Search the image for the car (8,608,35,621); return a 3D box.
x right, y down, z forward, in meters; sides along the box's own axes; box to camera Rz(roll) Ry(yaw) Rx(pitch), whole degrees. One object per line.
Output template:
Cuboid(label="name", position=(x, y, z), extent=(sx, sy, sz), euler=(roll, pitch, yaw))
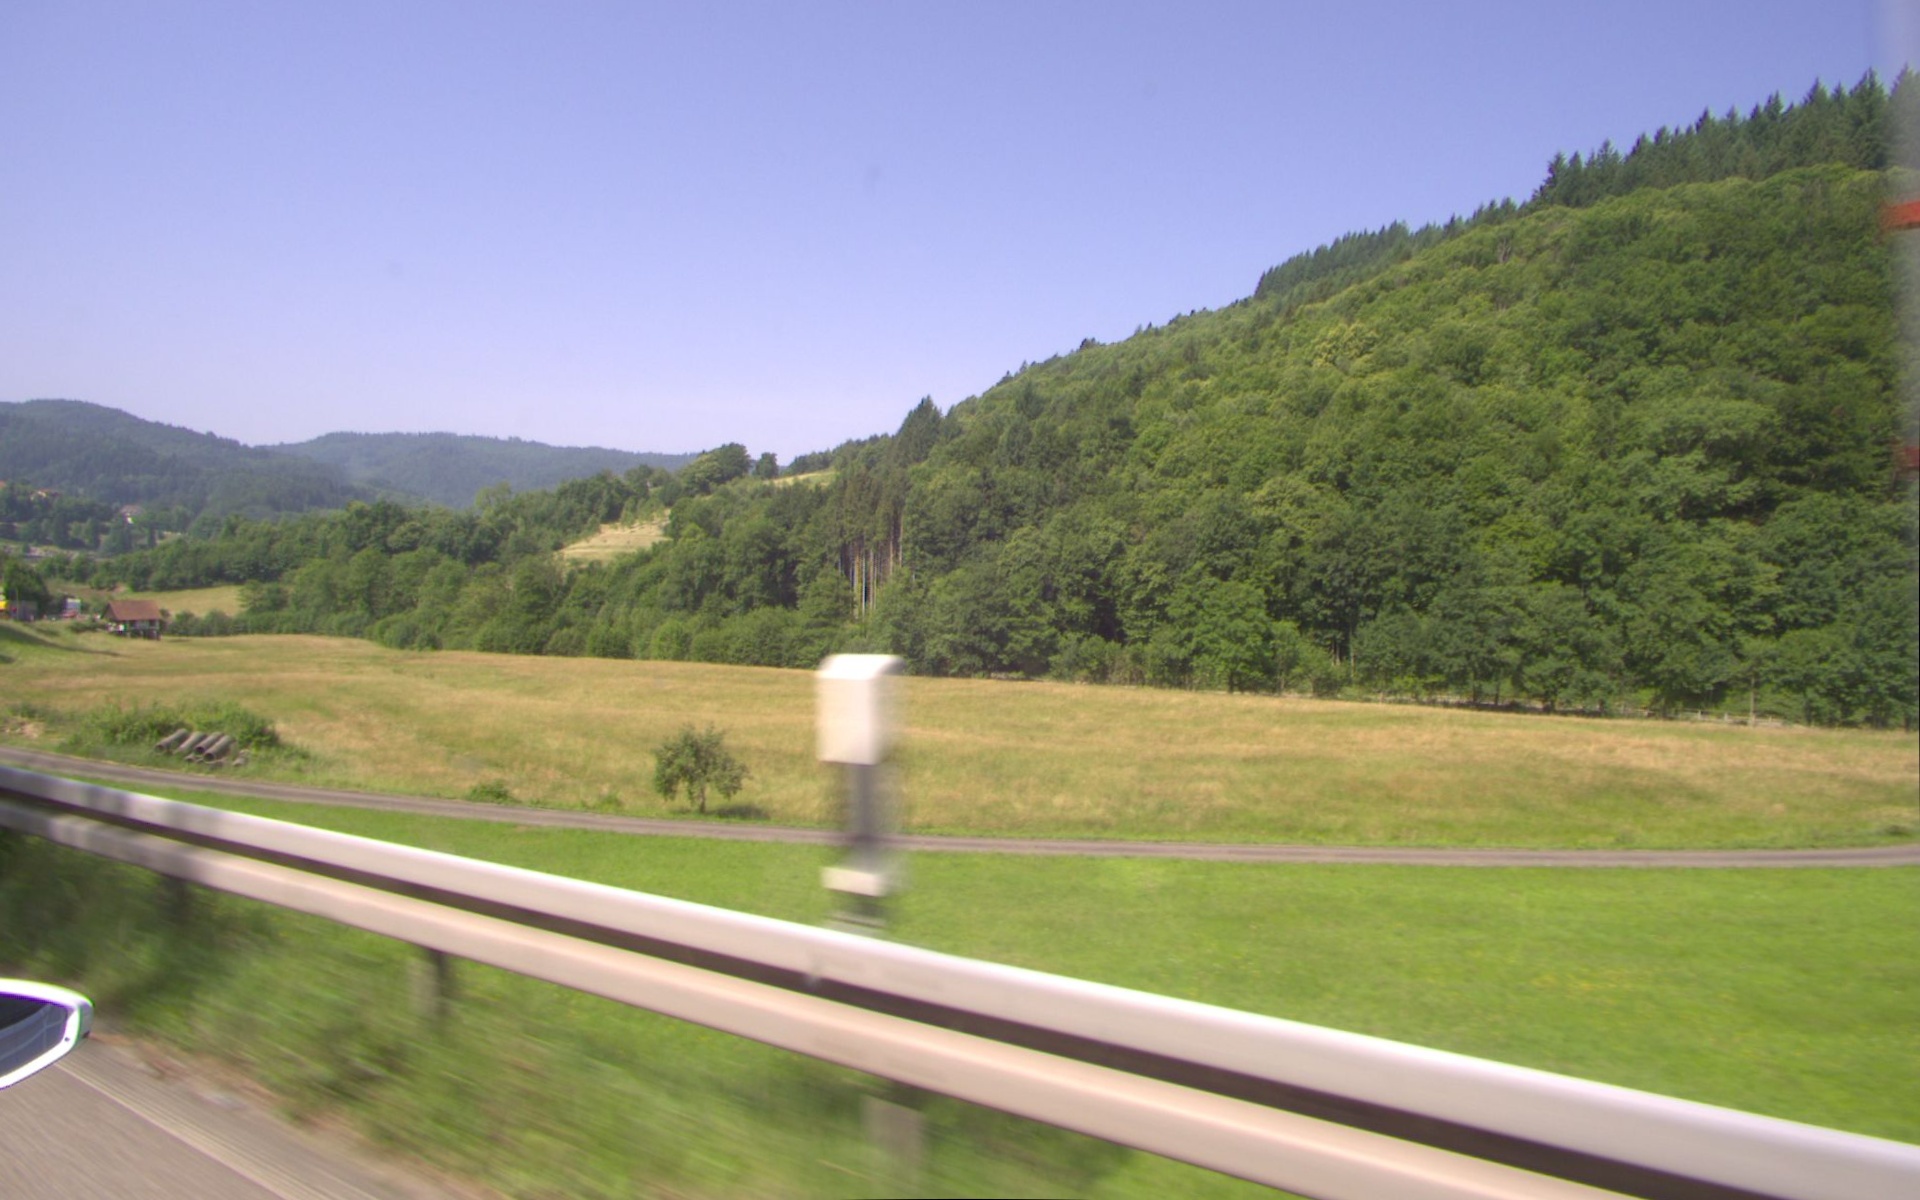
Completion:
Cuboid(label="car", position=(-155.006, 2.395, 165.444), extent=(1.970, 1.948, 3.987), euler=(5, -5, -25))

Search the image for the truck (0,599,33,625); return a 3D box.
Cuboid(label="truck", position=(-166.339, 2.104, 175.967), extent=(3.151, 4.453, 6.544), euler=(3, -1, -26))

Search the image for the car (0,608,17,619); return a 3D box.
Cuboid(label="car", position=(-150.417, 2.100, 157.433), extent=(1.885, 1.503, 3.986), euler=(6, -5, -25))
